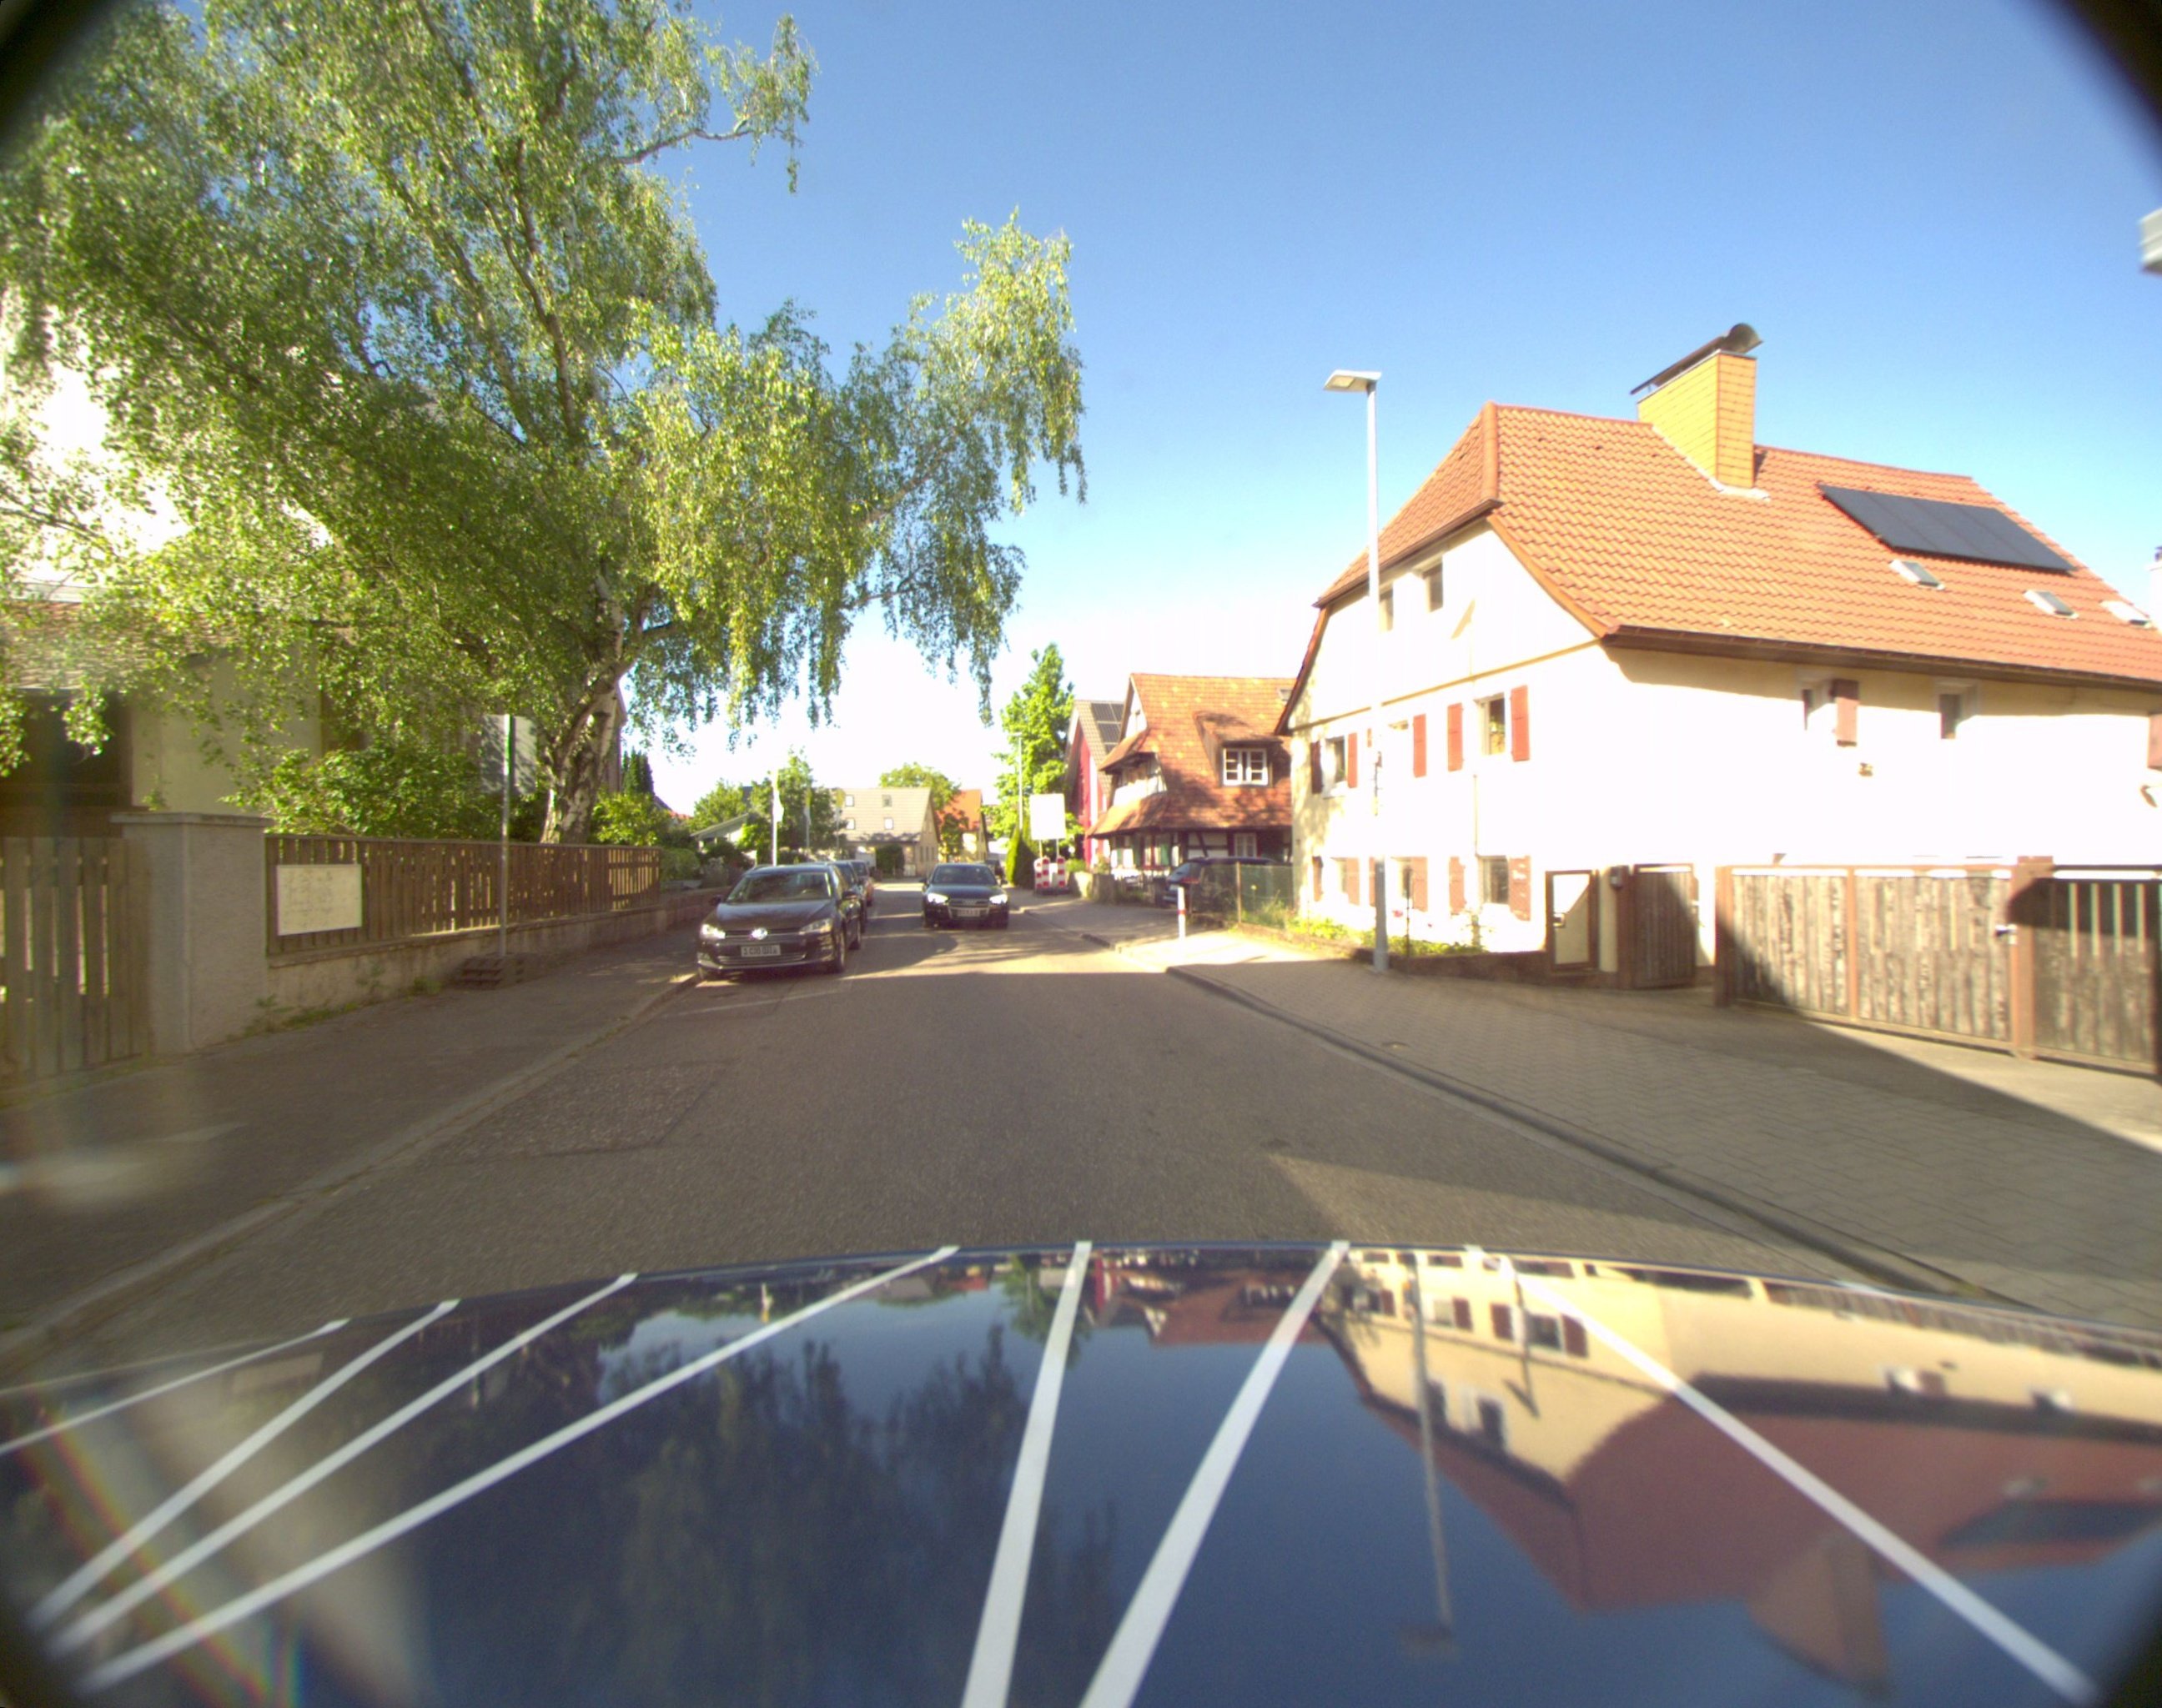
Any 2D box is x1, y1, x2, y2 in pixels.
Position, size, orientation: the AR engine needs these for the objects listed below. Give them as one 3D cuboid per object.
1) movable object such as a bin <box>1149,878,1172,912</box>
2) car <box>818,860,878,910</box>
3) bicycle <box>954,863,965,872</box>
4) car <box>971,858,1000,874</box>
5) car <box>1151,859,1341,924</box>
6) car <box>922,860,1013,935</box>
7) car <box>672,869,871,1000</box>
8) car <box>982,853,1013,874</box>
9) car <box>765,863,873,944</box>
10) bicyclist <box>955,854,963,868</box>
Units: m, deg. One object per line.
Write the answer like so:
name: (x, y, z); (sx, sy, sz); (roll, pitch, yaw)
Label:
movable object such as a bin: (2.221, 1.142, 21.258); (0.585, 0.892, 0.555); (2, 0, 8)
car: (-7.497, 0.946, 24.739); (1.654, 1.470, 3.928); (-1, 0, -14)
bicycle: (-11.133, 1.214, 69.637); (0.582, 0.757, 1.800); (1, 0, 2)
car: (-8.940, 1.099, 71.251); (1.674, 1.394, 3.895); (-2, -1, 8)
car: (4.025, 0.906, 18.681); (4.175, 1.453, 1.846); (1, -1, -17)
car: (-2.721, 0.893, 17.527); (1.809, 1.469, 4.339); (0, 0, -11)
car: (-4.212, 0.973, 11.077); (1.813, 1.427, 4.281); (-1, 0, -10)
car: (-7.071, 0.771, 64.448); (1.836, 1.661, 4.353); (-1, 1, 4)
car: (-5.442, 0.936, 16.255); (1.814, 1.427, 4.280); (-1, 0, -14)
bicyclist: (-11.150, 0.660, 69.636); (0.582, 1.312, 0.608); (1, 0, 2)
